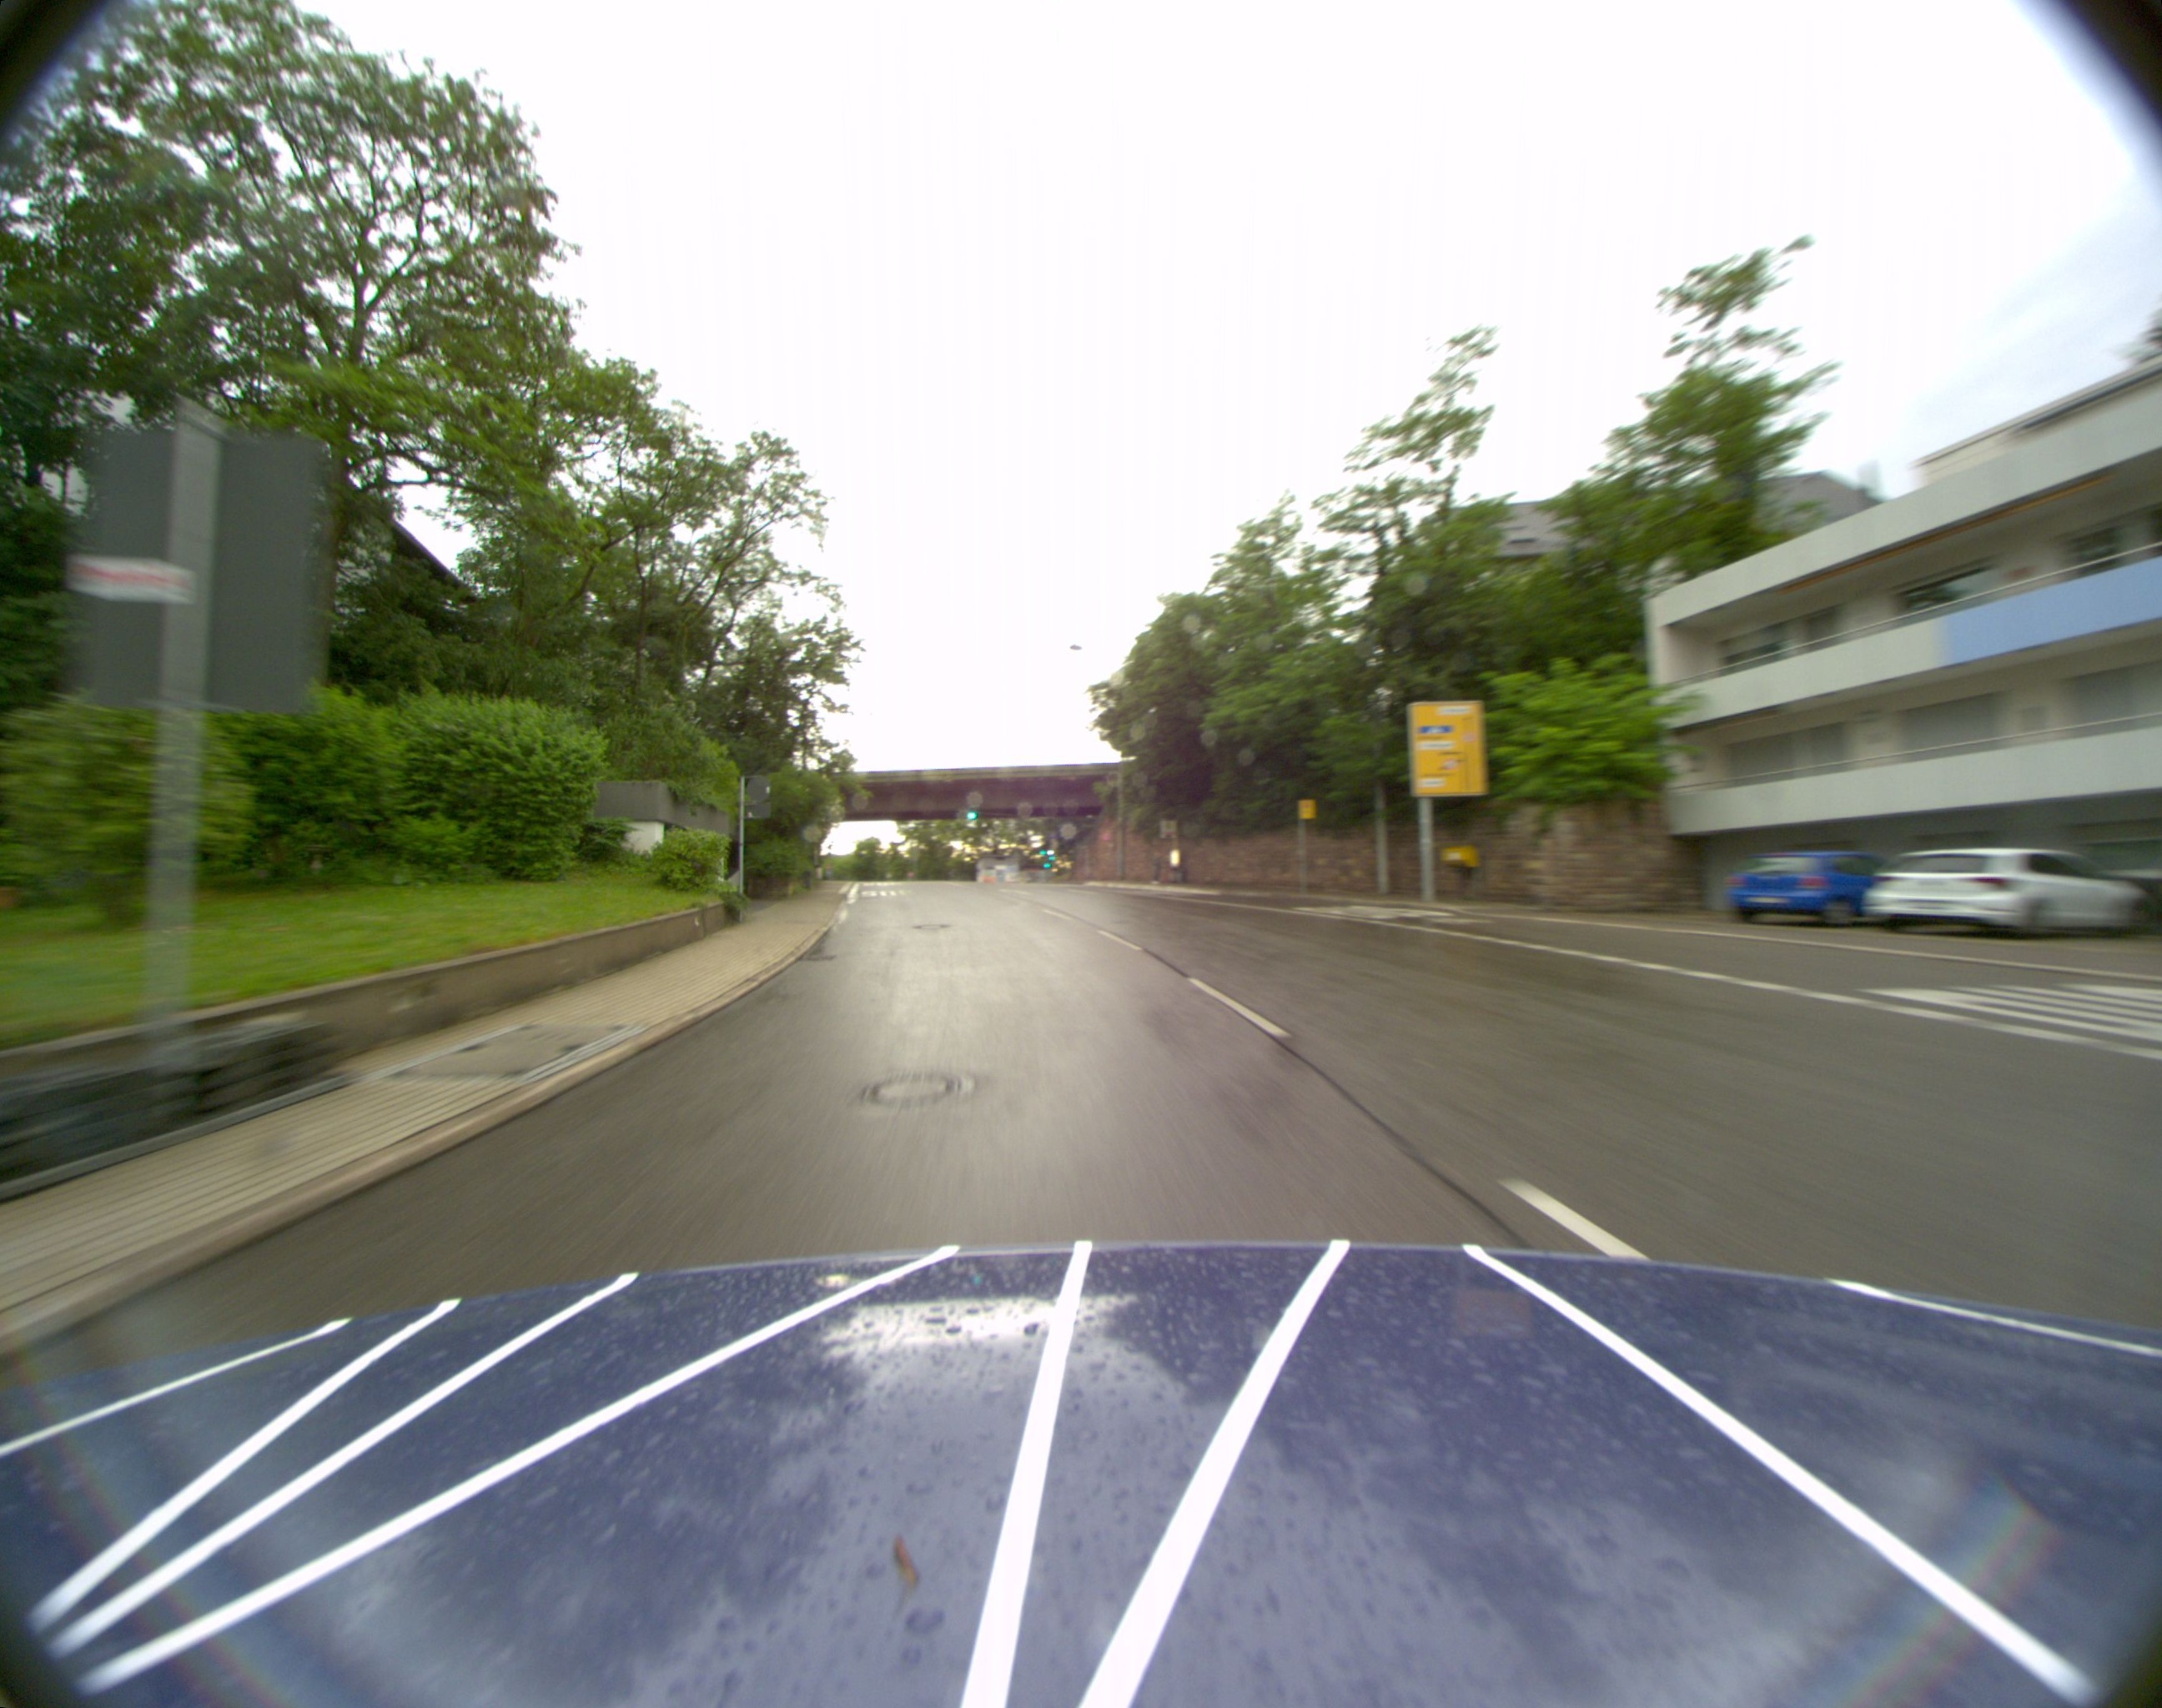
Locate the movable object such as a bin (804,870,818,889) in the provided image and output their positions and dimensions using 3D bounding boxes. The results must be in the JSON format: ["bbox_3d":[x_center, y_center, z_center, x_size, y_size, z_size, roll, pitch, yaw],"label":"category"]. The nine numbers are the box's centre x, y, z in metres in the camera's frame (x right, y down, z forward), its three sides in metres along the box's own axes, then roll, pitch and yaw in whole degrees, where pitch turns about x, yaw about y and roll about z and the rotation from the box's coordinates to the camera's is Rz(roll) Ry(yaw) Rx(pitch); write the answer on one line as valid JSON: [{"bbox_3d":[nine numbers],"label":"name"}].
[{"bbox_3d":[-11.234,1.059,31.624,0.508,0.784,0.501,-2,1,-18],"label":"movable object such as a bin"}]

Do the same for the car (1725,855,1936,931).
[{"bbox_3d":[14.865,0.725,15.100,3.445,1.382,1.634,1,0,-19],"label":"car"}]

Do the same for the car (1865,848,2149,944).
[{"bbox_3d":[15.295,0.676,12.607,3.444,1.436,1.706,1,-1,-15],"label":"car"}]

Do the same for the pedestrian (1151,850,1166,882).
[{"bbox_3d":[4.228,0.646,41.453,0.590,1.722,0.622,-2,2,-17],"label":"pedestrian"}]

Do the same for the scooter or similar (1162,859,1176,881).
[{"bbox_3d":[4.873,0.896,42.072,0.375,1.175,1.124,-2,1,-15],"label":"scooter or similar"}]
